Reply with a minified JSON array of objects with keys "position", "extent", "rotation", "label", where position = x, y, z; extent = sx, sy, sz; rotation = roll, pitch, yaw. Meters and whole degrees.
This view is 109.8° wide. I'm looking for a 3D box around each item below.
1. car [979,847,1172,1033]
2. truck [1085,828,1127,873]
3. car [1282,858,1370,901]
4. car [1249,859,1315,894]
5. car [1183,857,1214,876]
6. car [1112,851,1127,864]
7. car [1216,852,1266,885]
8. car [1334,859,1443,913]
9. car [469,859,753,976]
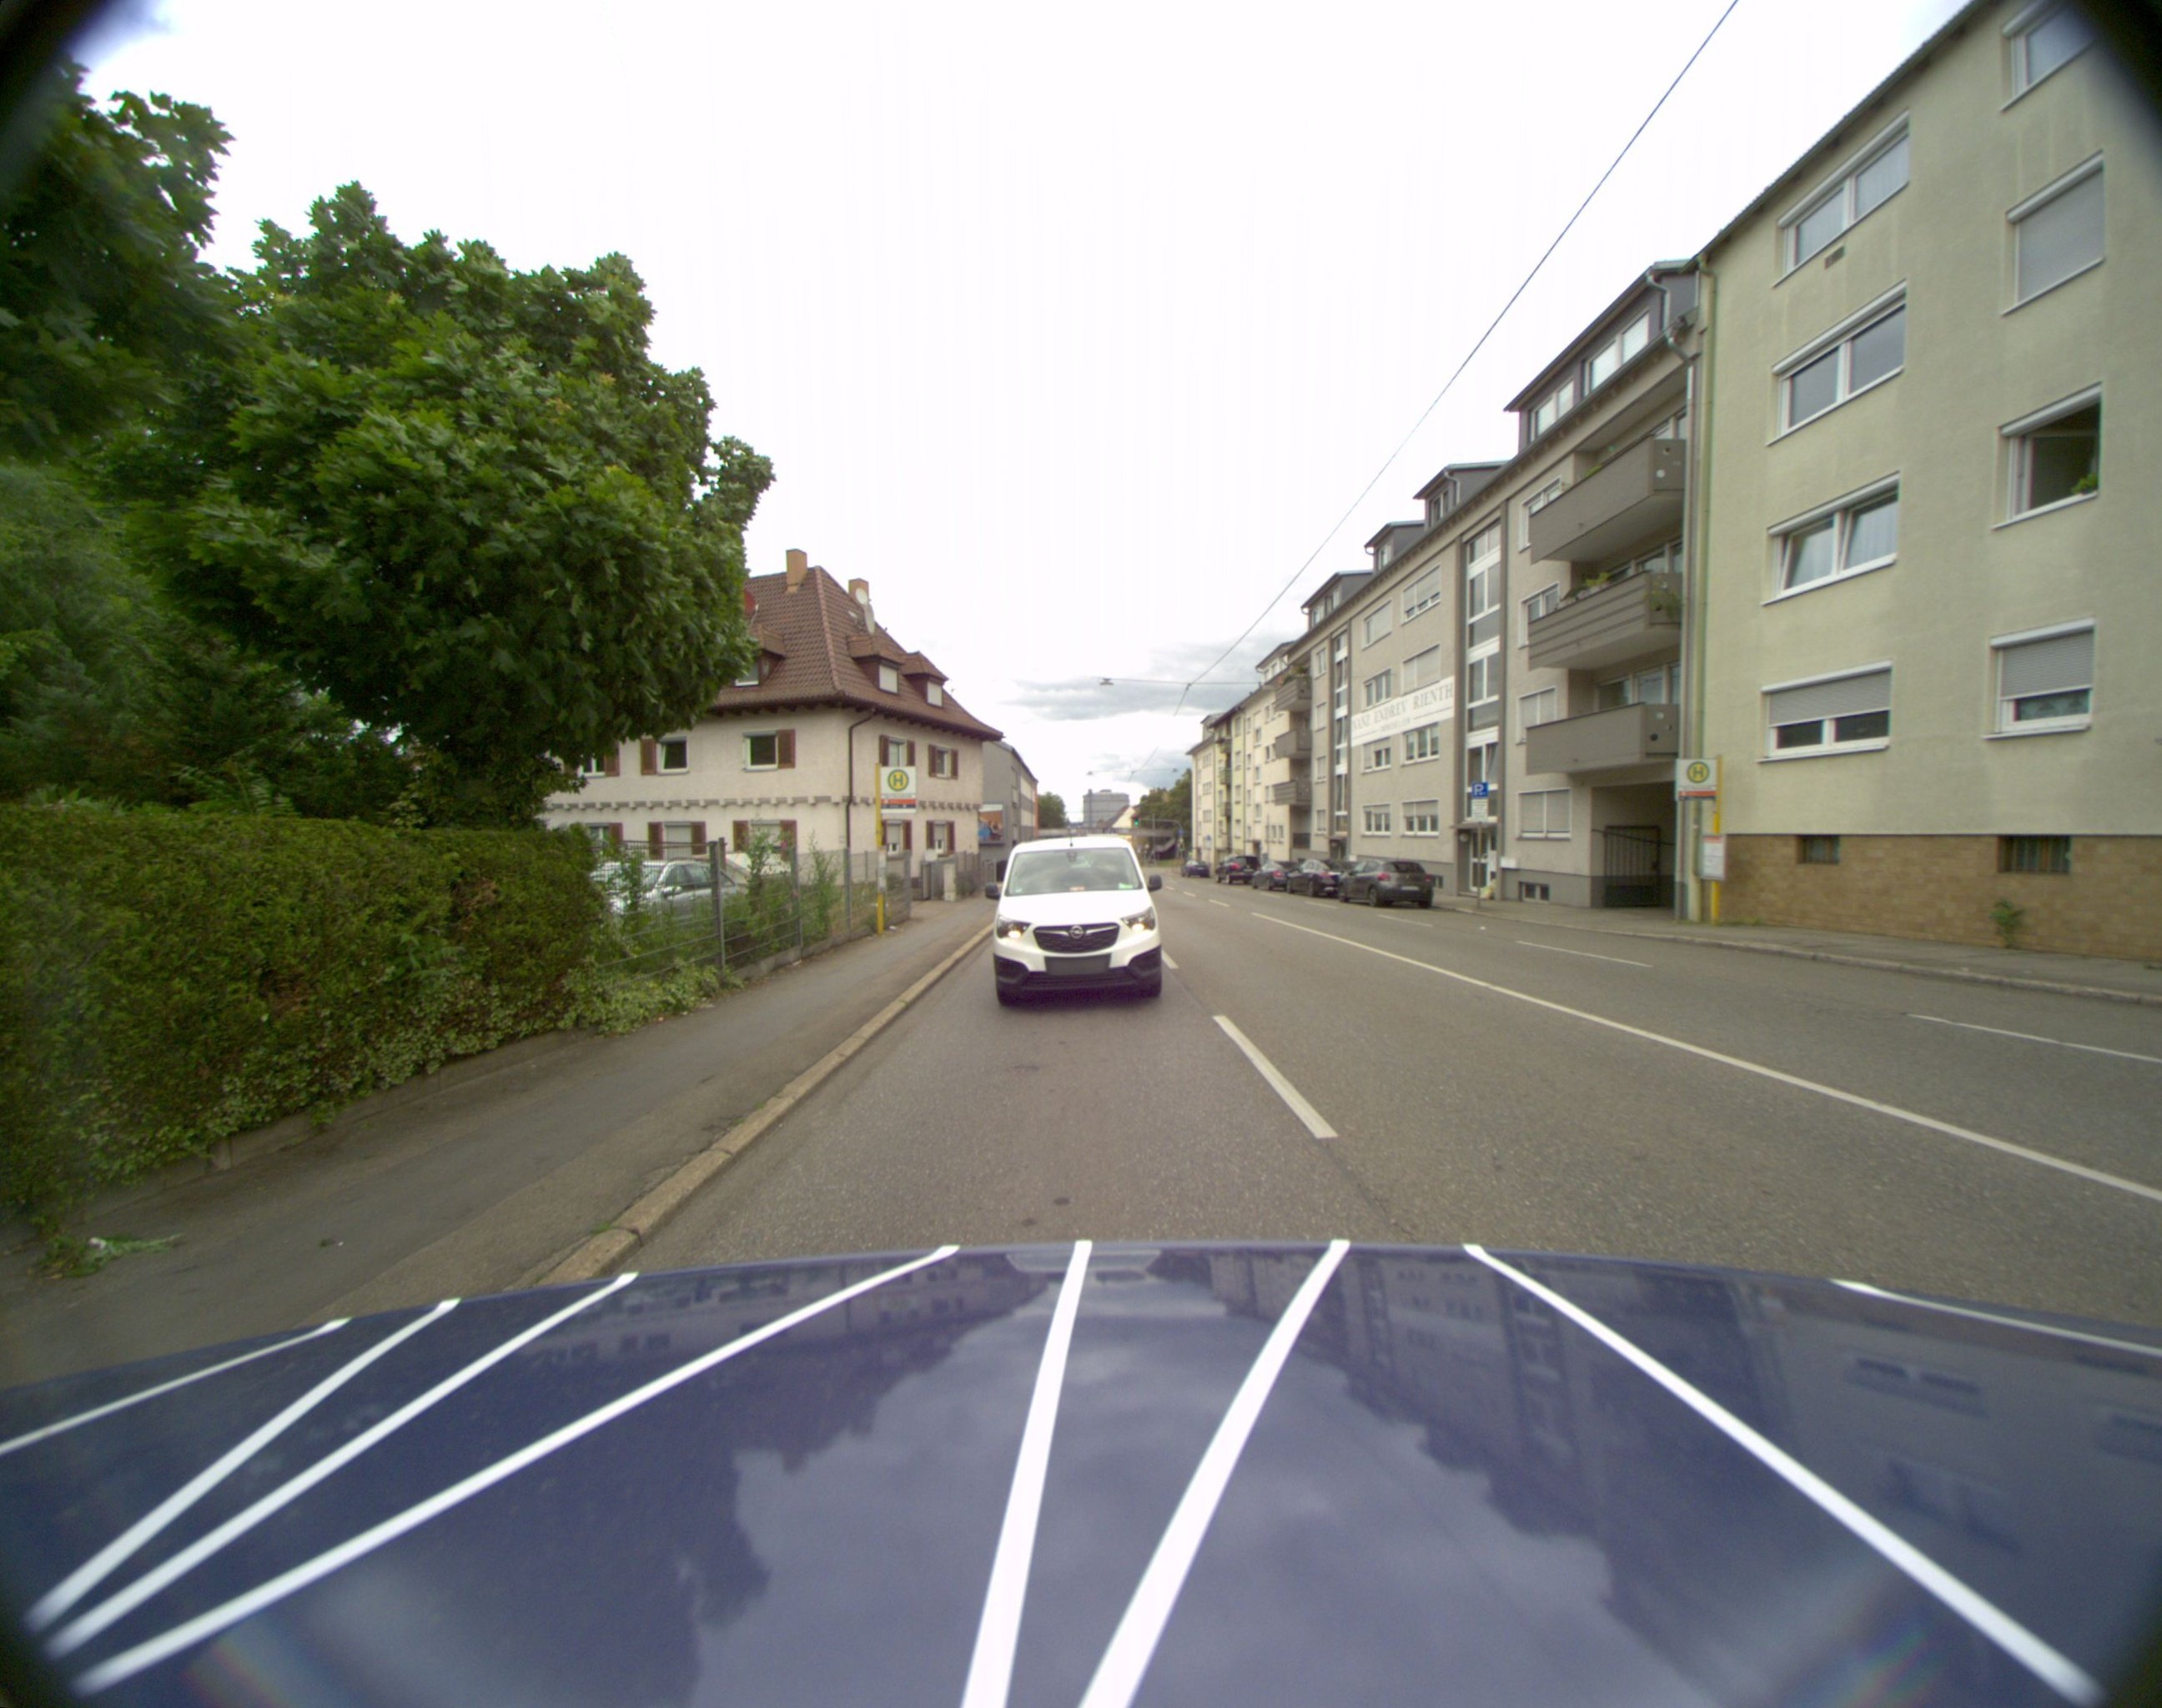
[{"position":[-0.079,0.809,9.259],"extent":[1.803,1.735,3.999],"rotation":[-1,1,-1],"label":"car"},{"position":[2.014,-0.253,64.477],"extent":[2.776,3.554,8.062],"rotation":[-1,0,-3],"label":"truck"},{"position":[9.275,0.901,29.185],"extent":[1.772,1.397,4.717],"rotation":[2,0,-1],"label":"car"},{"position":[9.110,0.991,34.748],"extent":[1.772,1.397,4.307],"rotation":[2,1,-1],"label":"car"},{"position":[9.362,0.950,60.734],"extent":[1.875,1.372,4.307],"rotation":[2,1,1],"label":"car"},{"position":[5.351,0.469,105.332],"extent":[1.875,1.569,4.307],"rotation":[2,1,1],"label":"car"},{"position":[9.169,0.783,43.989],"extent":[1.875,1.743,4.307],"rotation":[2,1,-1],"label":"car"},{"position":[9.418,0.922,23.599],"extent":[1.772,1.428,3.801],"rotation":[2,1,-1],"label":"car"},{"position":[-6.659,0.790,11.420],"extent":[1.804,1.413,4.263],"rotation":[0,0,-3],"label":"car"}]
